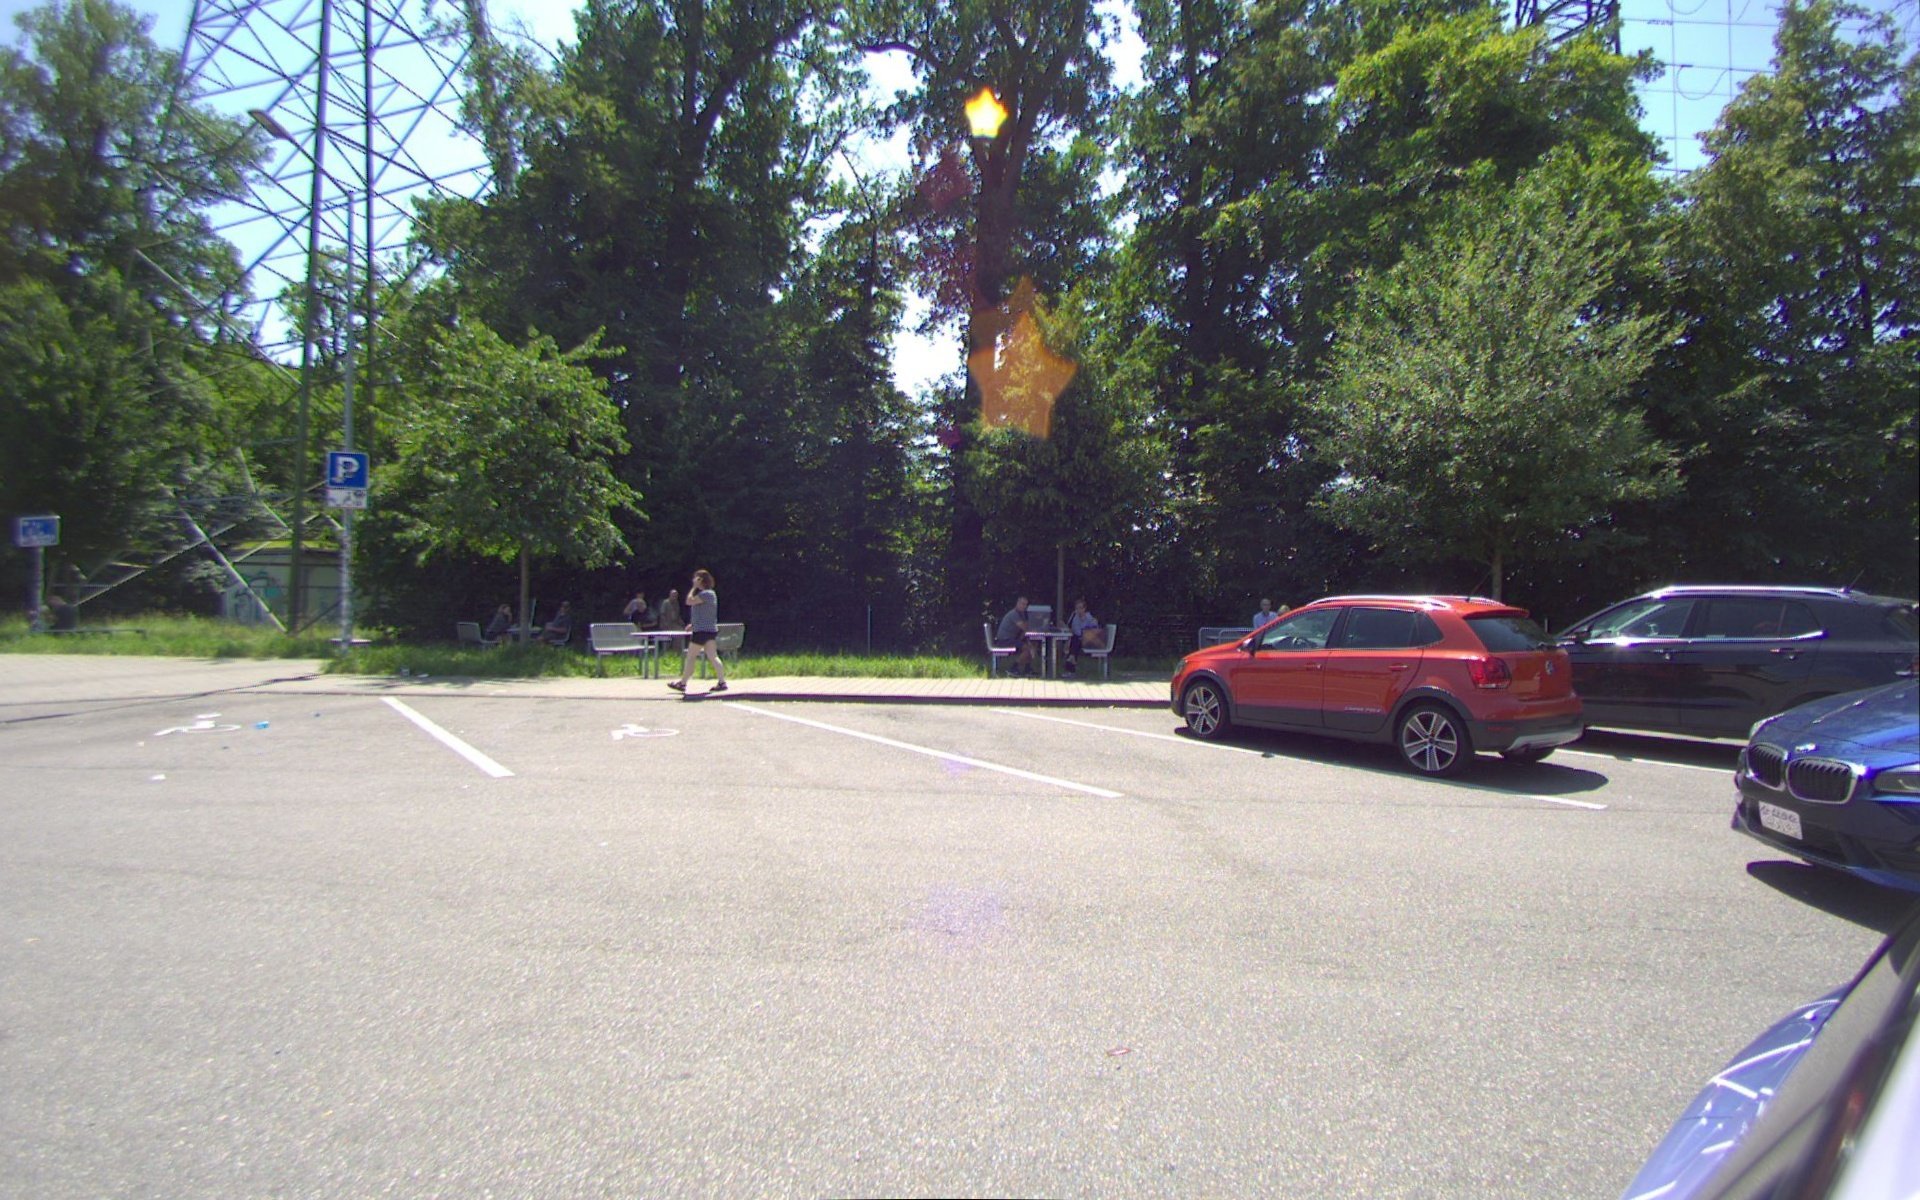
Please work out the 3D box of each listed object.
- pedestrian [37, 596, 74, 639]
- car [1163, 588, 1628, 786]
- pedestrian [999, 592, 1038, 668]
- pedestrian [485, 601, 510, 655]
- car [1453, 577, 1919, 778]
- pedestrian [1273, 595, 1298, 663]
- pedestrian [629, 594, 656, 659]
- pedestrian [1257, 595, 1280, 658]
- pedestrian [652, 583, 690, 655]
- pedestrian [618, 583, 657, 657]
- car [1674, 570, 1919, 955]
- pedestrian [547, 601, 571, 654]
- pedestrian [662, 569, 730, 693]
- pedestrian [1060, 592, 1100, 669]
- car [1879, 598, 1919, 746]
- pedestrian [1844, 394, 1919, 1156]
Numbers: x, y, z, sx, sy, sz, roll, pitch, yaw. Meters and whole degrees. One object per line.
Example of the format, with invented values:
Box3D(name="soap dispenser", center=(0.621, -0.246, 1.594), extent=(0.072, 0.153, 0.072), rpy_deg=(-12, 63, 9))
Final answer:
Box3D(name="pedestrian", center=(-20.952, 0.406, 23.444), extent=(0.452, 0.987, 0.447), rpy_deg=(0, 0, -2))
Box3D(name="car", center=(3.880, 0.637, 9.635), extent=(1.619, 1.487, 3.830), rpy_deg=(0, 0, -33))
Box3D(name="pedestrian", center=(0.989, 0.502, 17.099), extent=(0.586, 1.261, 0.445), rpy_deg=(0, 0, 16))
Box3D(name="pedestrian", center=(-10.434, 0.622, 22.844), extent=(0.452, 1.182, 0.447), rpy_deg=(0, 0, -34))
Box3D(name="car", center=(7.096, 0.595, 9.851), extent=(1.620, 1.575, 3.826), rpy_deg=(0, 0, -37))
Box3D(name="pedestrian", center=(5.770, 0.509, 17.936), extent=(0.350, 1.180, 0.384), rpy_deg=(0, 0, 8))
Box3D(name="pedestrian", center=(-6.687, 0.553, 21.332), extent=(0.438, 1.363, 0.462), rpy_deg=(0, 0, -5))
Box3D(name="pedestrian", center=(5.818, 0.498, 19.112), extent=(0.350, 1.180, 0.384), rpy_deg=(0, 0, 8))
Box3D(name="pedestrian", center=(-6.609, 0.419, 23.169), extent=(0.570, 1.625, 0.637), rpy_deg=(0, 0, 44))
Box3D(name="pedestrian", center=(-7.225, 0.427, 22.688), extent=(0.570, 1.625, 0.637), rpy_deg=(0, 0, 44))
Box3D(name="car", center=(6.110, 0.668, 4.630), extent=(4.273, 1.572, 1.743), rpy_deg=(1, 1, 10))
Box3D(name="pedestrian", center=(-9.346, 0.623, 23.585), extent=(0.452, 1.209, 0.447), rpy_deg=(0, 0, -34))
Box3D(name="pedestrian", center=(-3.644, 0.411, 14.010), extent=(0.703, 1.670, 0.686), rpy_deg=(0, 0, 9))
Box3D(name="pedestrian", center=(2.002, 0.499, 16.842), extent=(0.586, 1.261, 0.498), rpy_deg=(0, 0, 16))
Box3D(name="car", center=(10.896, 0.705, 8.996), extent=(1.620, 1.420, 3.826), rpy_deg=(0, 0, -37))
Box3D(name="pedestrian", center=(2.854, 0.456, 2.464), extent=(0.805, 1.974, 0.913), rpy_deg=(0, 0, 25))
